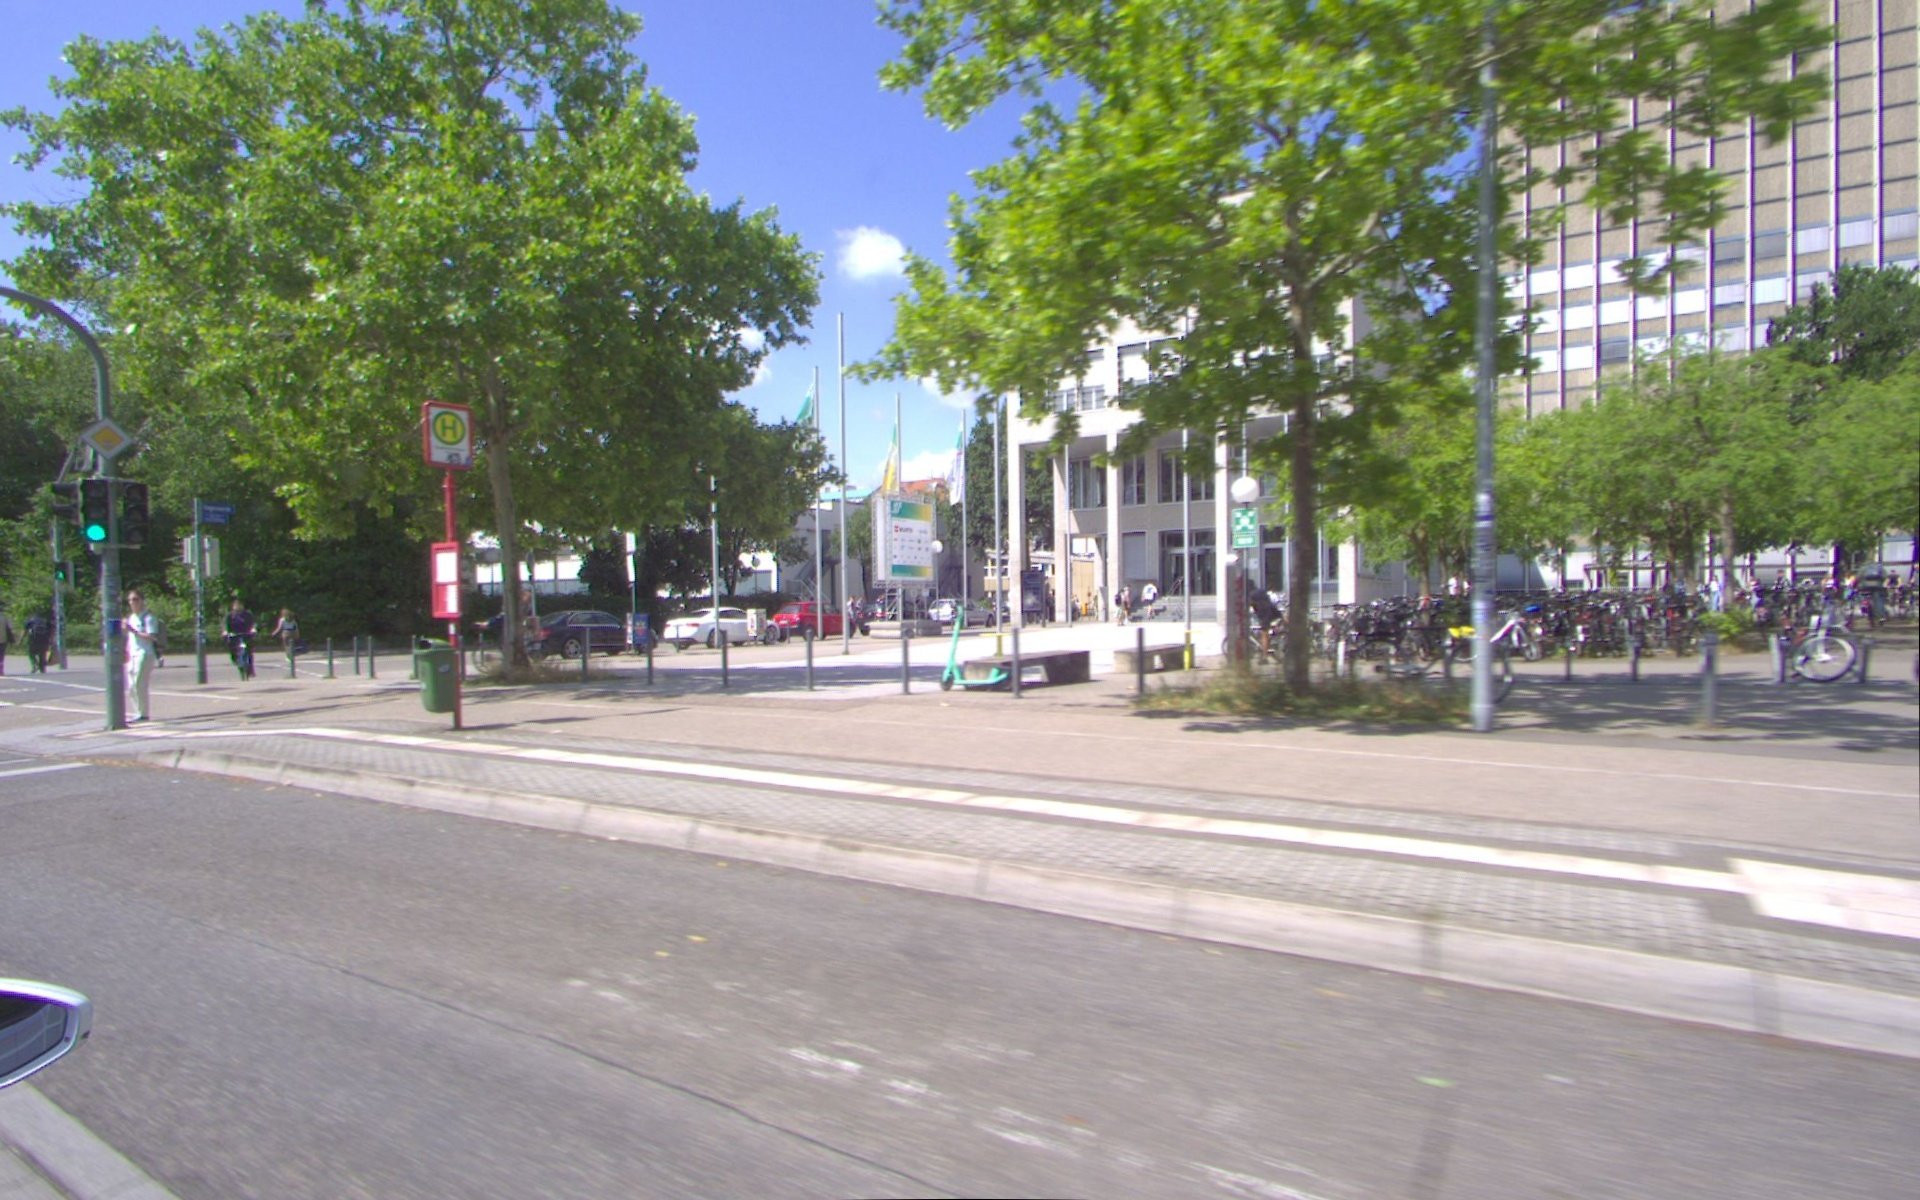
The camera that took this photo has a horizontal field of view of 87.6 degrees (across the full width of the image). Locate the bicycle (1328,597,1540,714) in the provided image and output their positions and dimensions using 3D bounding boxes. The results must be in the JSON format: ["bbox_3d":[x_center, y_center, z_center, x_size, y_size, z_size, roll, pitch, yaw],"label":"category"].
[{"bbox_3d":[5.267,0.588,11.206,2.009,1.198,0.793,-1,-1,43],"label":"bicycle"}]

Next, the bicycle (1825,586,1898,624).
[{"bbox_3d":[27.108,0.170,30.144,0.592,1.113,1.768,0,-1,1],"label":"bicycle"}]

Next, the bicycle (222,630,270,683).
[{"bbox_3d":[-16.176,1.255,22.728,0.807,1.087,1.879,0,0,-33],"label":"bicycle"}]

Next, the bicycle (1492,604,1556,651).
[{"bbox_3d":[13.823,0.669,24.591,0.592,1.113,1.768,0,-1,1],"label":"bicycle"}]

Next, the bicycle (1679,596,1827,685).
[{"bbox_3d":[10.525,0.531,13.376,0.592,1.113,1.768,0,-1,1],"label":"bicycle"}]

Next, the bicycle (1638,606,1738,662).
[{"bbox_3d":[13.499,0.607,18.634,0.592,0.967,1.767,0,0,1],"label":"bicycle"}]

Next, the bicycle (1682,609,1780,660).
[{"bbox_3d":[14.291,0.613,18.617,0.475,0.880,1.767,0,0,1],"label":"bicycle"}]

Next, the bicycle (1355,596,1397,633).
[{"bbox_3d":[12.860,0.459,30.983,0.592,1.113,1.768,0,-1,1],"label":"bicycle"}]

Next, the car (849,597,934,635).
[{"bbox_3d":[-2.953,0.664,43.915,1.700,1.549,3.979,-1,0,31],"label":"car"}]

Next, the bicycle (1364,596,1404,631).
[{"bbox_3d":[14.052,0.455,33.208,0.592,1.113,1.768,0,-1,1],"label":"bicycle"}]

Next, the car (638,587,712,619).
[{"bbox_3d":[-18.665,0.238,65.403,4.868,2.012,1.989,0,0,34],"label":"car"}]

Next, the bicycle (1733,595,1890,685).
[{"bbox_3d":[11.208,0.518,13.263,0.592,1.113,1.768,0,-1,1],"label":"bicycle"}]

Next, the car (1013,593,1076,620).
[{"bbox_3d":[4.987,0.371,58.500,1.845,1.484,4.497,0,0,31],"label":"car"}]

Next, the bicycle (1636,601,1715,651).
[{"bbox_3d":[16.757,0.611,23.511,0.592,1.113,1.768,0,-1,1],"label":"bicycle"}]

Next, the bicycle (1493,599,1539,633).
[{"bbox_3d":[19.086,0.562,34.416,0.592,1.113,1.768,0,-1,1],"label":"bicycle"}]

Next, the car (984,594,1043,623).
[{"bbox_3d":[2.932,0.448,54.259,1.595,1.516,3.987,0,0,30],"label":"car"}]

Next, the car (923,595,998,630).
[{"bbox_3d":[0.104,0.579,48.946,1.698,1.549,4.547,-2,0,28],"label":"car"}]

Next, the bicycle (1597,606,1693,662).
[{"bbox_3d":[12.709,0.608,18.651,0.592,0.967,1.767,0,0,1],"label":"bicycle"}]

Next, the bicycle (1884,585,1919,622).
[{"bbox_3d":[28.844,0.111,30.062,0.592,1.113,1.768,0,-1,1],"label":"bicycle"}]

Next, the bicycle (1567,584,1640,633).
[{"bbox_3d":[15.131,0.221,23.584,0.592,1.113,1.768,0,-1,1],"label":"bicycle"}]

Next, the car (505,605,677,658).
[{"bbox_3d":[-11.147,0.915,30.626,1.699,1.418,4.923,-3,-1,31],"label":"car"}]

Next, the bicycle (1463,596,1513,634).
[{"bbox_3d":[15.834,0.460,30.083,0.592,1.113,1.768,0,-1,1],"label":"bicycle"}]

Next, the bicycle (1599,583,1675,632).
[{"bbox_3d":[15.860,0.201,23.507,0.592,1.113,1.768,0,-1,1],"label":"bicycle"}]

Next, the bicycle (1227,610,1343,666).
[{"bbox_3d":[6.743,0.795,20.843,2.112,1.092,0.904,-1,-1,2],"label":"bicycle"}]

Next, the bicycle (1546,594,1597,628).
[{"bbox_3d":[20.119,0.380,32.967,0.592,1.113,1.768,0,-1,1],"label":"bicycle"}]

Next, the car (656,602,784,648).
[{"bbox_3d":[-8.346,0.847,35.211,1.699,1.418,4.415,-3,-1,31],"label":"car"}]

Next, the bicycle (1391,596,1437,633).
[{"bbox_3d":[13.778,0.453,30.419,0.592,1.113,1.768,0,-1,1],"label":"bicycle"}]

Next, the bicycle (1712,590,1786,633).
[{"bbox_3d":[20.970,0.330,26.650,0.592,1.113,1.768,0,-1,1],"label":"bicycle"}]

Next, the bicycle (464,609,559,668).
[{"bbox_3d":[-10.036,0.854,22.445,1.838,1.313,0.663,0,-1,2],"label":"bicycle"}]

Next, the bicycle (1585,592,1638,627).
[{"bbox_3d":[21.351,0.321,32.837,0.592,1.113,1.768,0,-1,1],"label":"bicycle"}]

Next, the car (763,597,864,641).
[{"bbox_3d":[-5.717,0.722,39.459,1.597,1.516,4.124,-3,-1,32],"label":"car"}]

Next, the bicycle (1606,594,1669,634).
[{"bbox_3d":[19.386,0.404,28.690,0.592,1.113,1.768,0,-1,1],"label":"bicycle"}]
